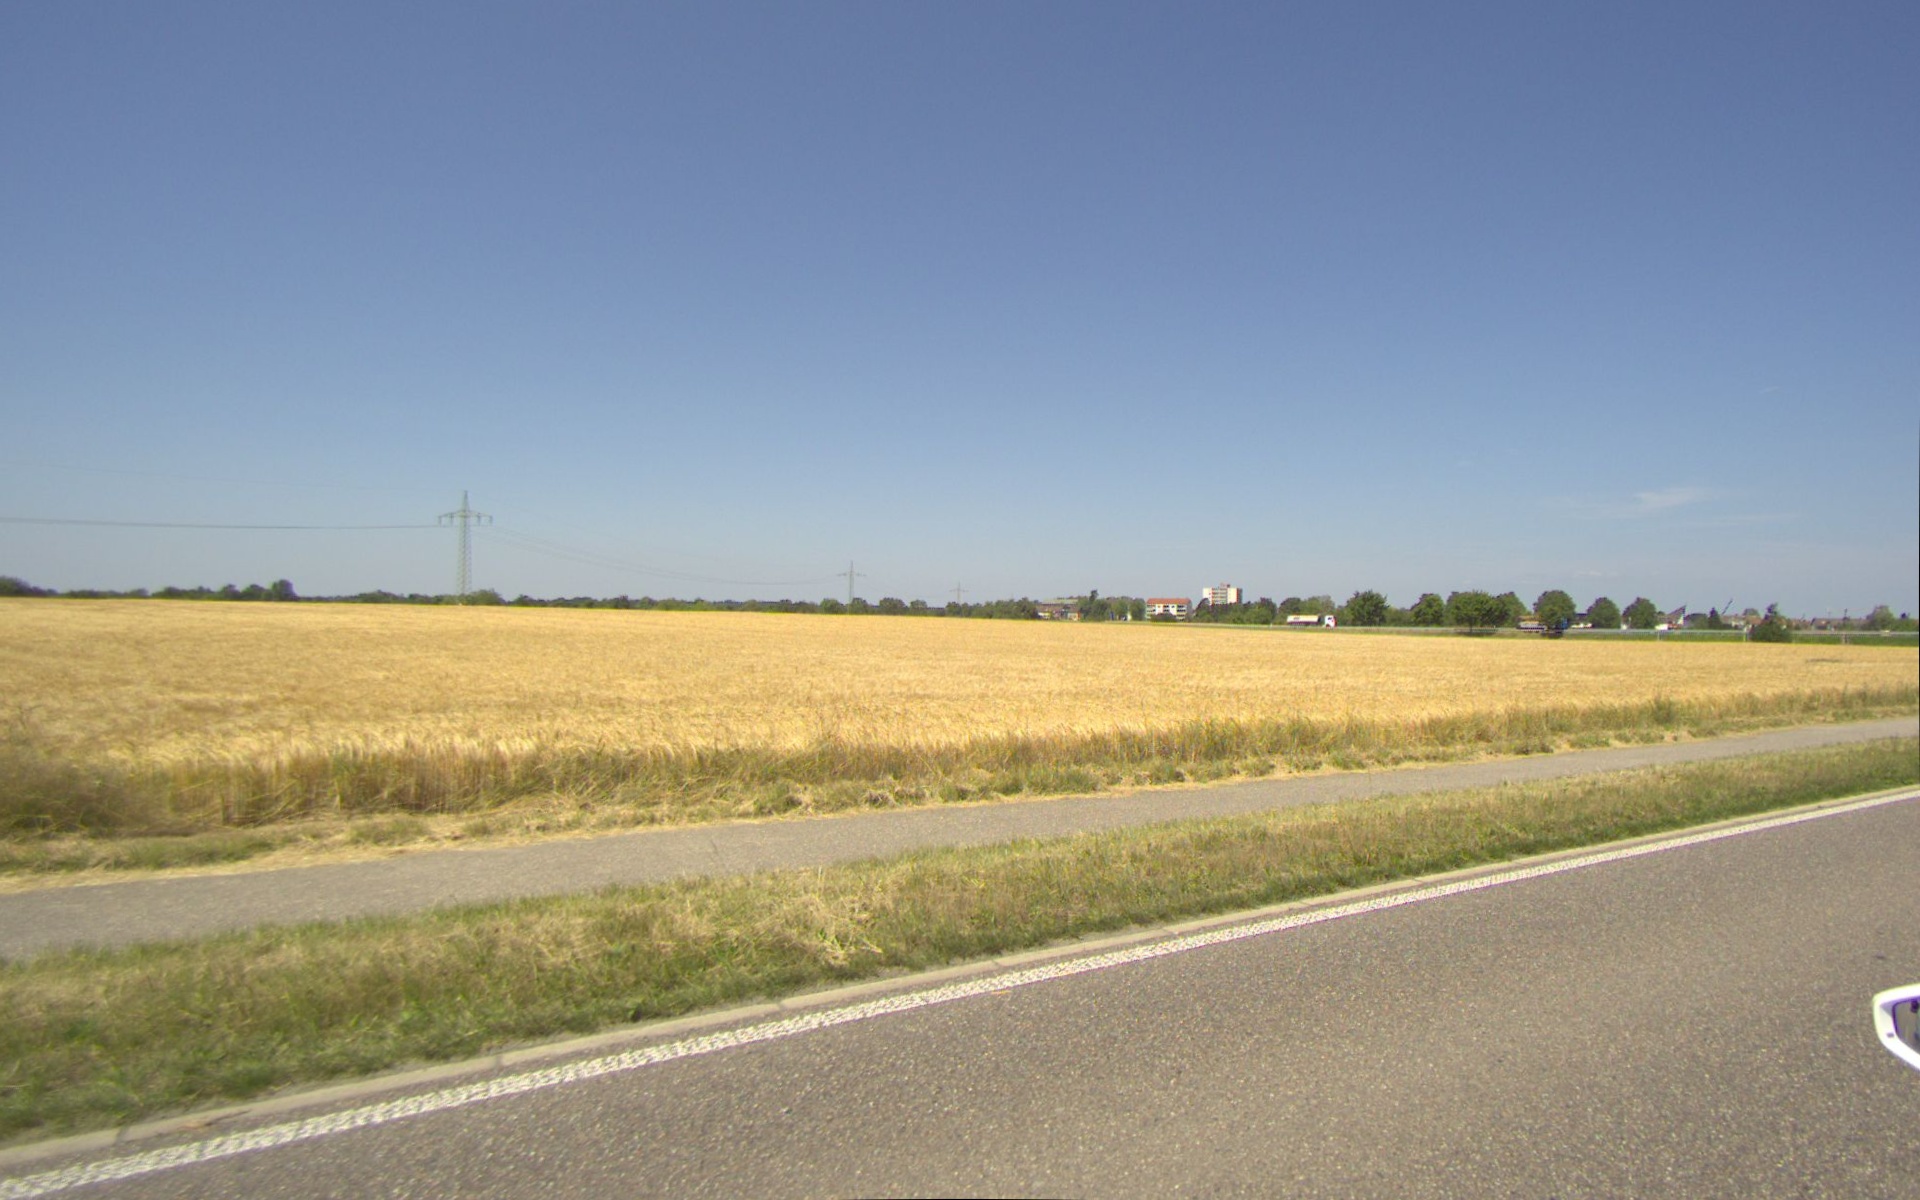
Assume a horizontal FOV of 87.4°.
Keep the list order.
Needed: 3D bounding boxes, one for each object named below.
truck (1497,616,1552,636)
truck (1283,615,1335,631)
[{"bbox_3d":[121.672,5.604,216.537,9.966,3.844,2.612,1,0,42],"label":"truck"},{"bbox_3d":[86.399,5.681,248.758,11.820,3.663,2.975,1,0,32],"label":"truck"}]
